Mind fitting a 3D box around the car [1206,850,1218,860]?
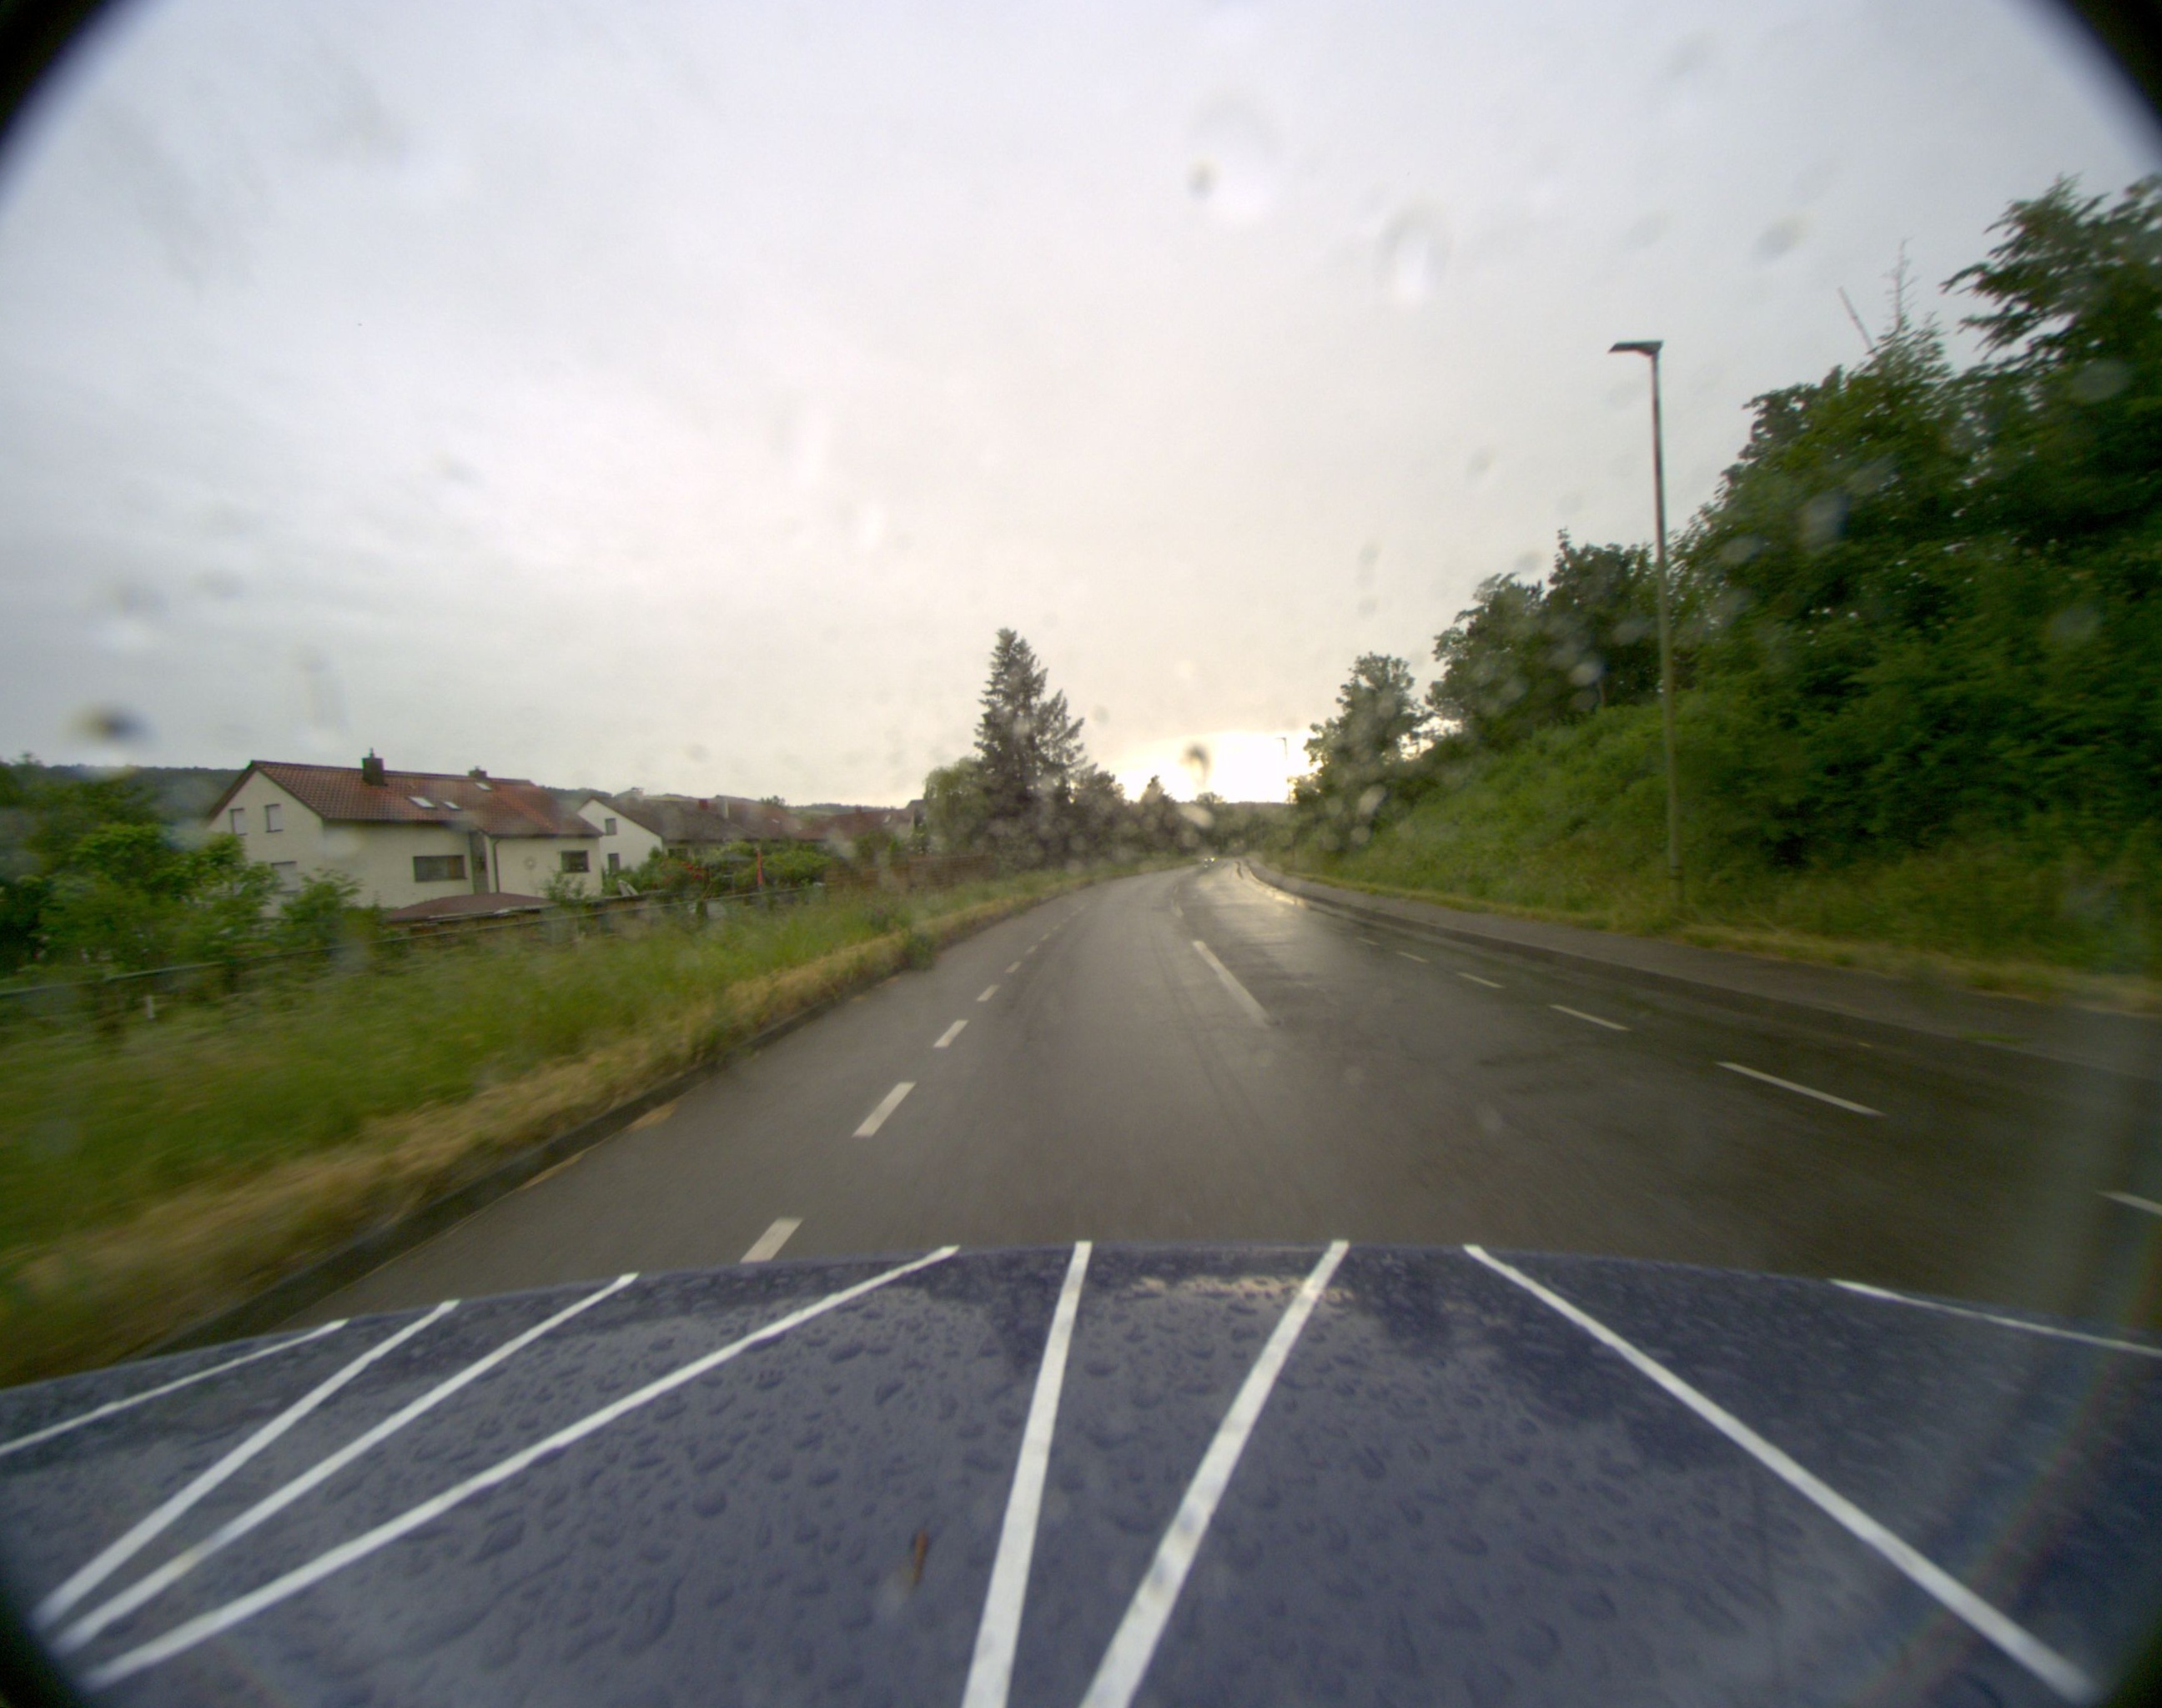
[{"bbox_3d":[21.574,0.172,125.190,1.878,1.596,4.003,-1,0,11],"label":"car"}]
